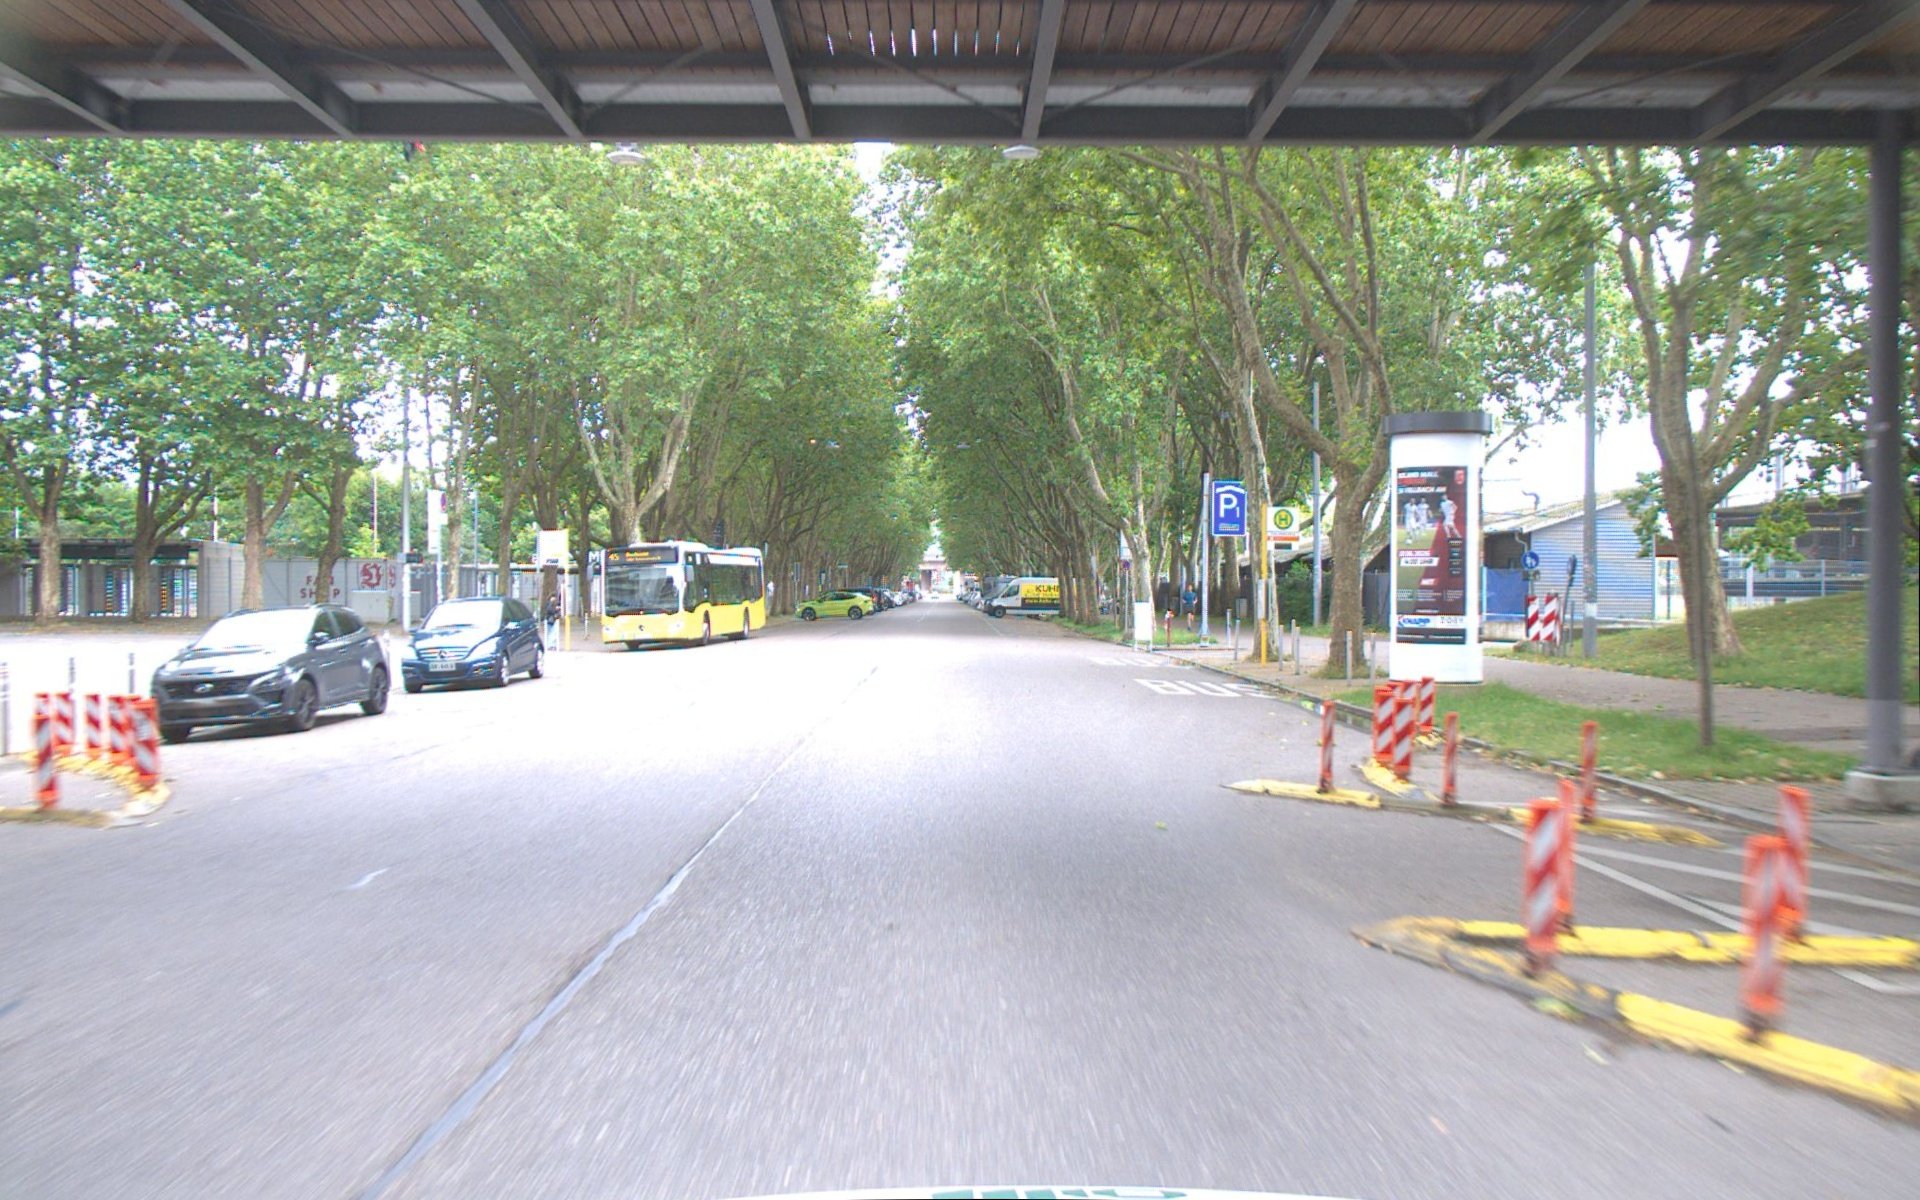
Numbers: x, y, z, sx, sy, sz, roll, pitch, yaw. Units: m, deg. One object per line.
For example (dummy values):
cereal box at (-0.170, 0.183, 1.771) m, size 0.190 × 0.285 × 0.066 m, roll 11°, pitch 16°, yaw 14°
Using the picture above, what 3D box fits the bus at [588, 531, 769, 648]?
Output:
bus at (-8.698, -0.335, 53.082) m, size 2.975 × 3.215 × 12.681 m, roll -2°, pitch 0°, yaw 3°

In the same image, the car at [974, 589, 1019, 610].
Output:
car at (3.168, -0.070, 145.786) m, size 3.906 × 1.825 × 1.542 m, roll 0°, pitch 0°, yaw -1°

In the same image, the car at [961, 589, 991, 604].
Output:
car at (2.047, -0.449, 210.896) m, size 3.905 × 1.894 × 1.637 m, roll 0°, pitch 0°, yaw 0°

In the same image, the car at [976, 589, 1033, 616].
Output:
car at (3.075, 0.180, 114.554) m, size 3.906 × 1.825 × 1.542 m, roll 0°, pitch 0°, yaw -1°

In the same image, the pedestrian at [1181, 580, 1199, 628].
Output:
pedestrian at (9.250, 0.148, 66.616) m, size 0.562 × 1.921 × 0.616 m, roll 0°, pitch 0°, yaw -9°

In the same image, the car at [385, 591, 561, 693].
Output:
car at (-8.867, 0.710, 30.461) m, size 1.953 × 1.612 × 4.113 m, roll -3°, pitch 1°, yaw 0°

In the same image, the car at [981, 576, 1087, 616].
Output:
car at (4.781, -0.275, 107.123) m, size 6.686 × 2.557 × 2.315 m, roll 0°, pitch 1°, yaw -3°

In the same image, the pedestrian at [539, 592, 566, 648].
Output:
pedestrian at (-11.934, 0.580, 48.452) m, size 0.659 × 1.631 × 0.606 m, roll 0°, pitch 0°, yaw -26°

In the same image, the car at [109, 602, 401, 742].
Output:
car at (-8.936, 0.835, 21.435) m, size 1.820 × 1.478 × 4.448 m, roll -3°, pitch 1°, yaw 0°

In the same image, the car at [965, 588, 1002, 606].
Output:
car at (2.249, -0.290, 160.338) m, size 3.548 × 1.825 × 1.542 m, roll 0°, pitch 0°, yaw -1°

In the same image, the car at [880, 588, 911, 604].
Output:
car at (-8.198, -0.509, 210.999) m, size 3.905 × 2.004 × 2.000 m, roll 0°, pitch 0°, yaw 0°

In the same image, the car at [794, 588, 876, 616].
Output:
car at (-7.315, 0.122, 97.018) m, size 4.603 × 1.612 × 1.864 m, roll 0°, pitch 0°, yaw 0°

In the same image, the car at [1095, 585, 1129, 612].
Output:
car at (10.308, -0.130, 112.181) m, size 1.953 × 1.803 × 4.000 m, roll 0°, pitch 0°, yaw 0°

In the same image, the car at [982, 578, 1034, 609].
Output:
car at (3.604, -0.493, 125.200) m, size 3.906 × 2.380 × 1.542 m, roll 0°, pitch 0°, yaw -1°

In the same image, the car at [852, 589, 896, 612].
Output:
car at (-7.333, 0.054, 140.854) m, size 3.584 × 1.896 × 1.625 m, roll 0°, pitch 0°, yaw 2°
